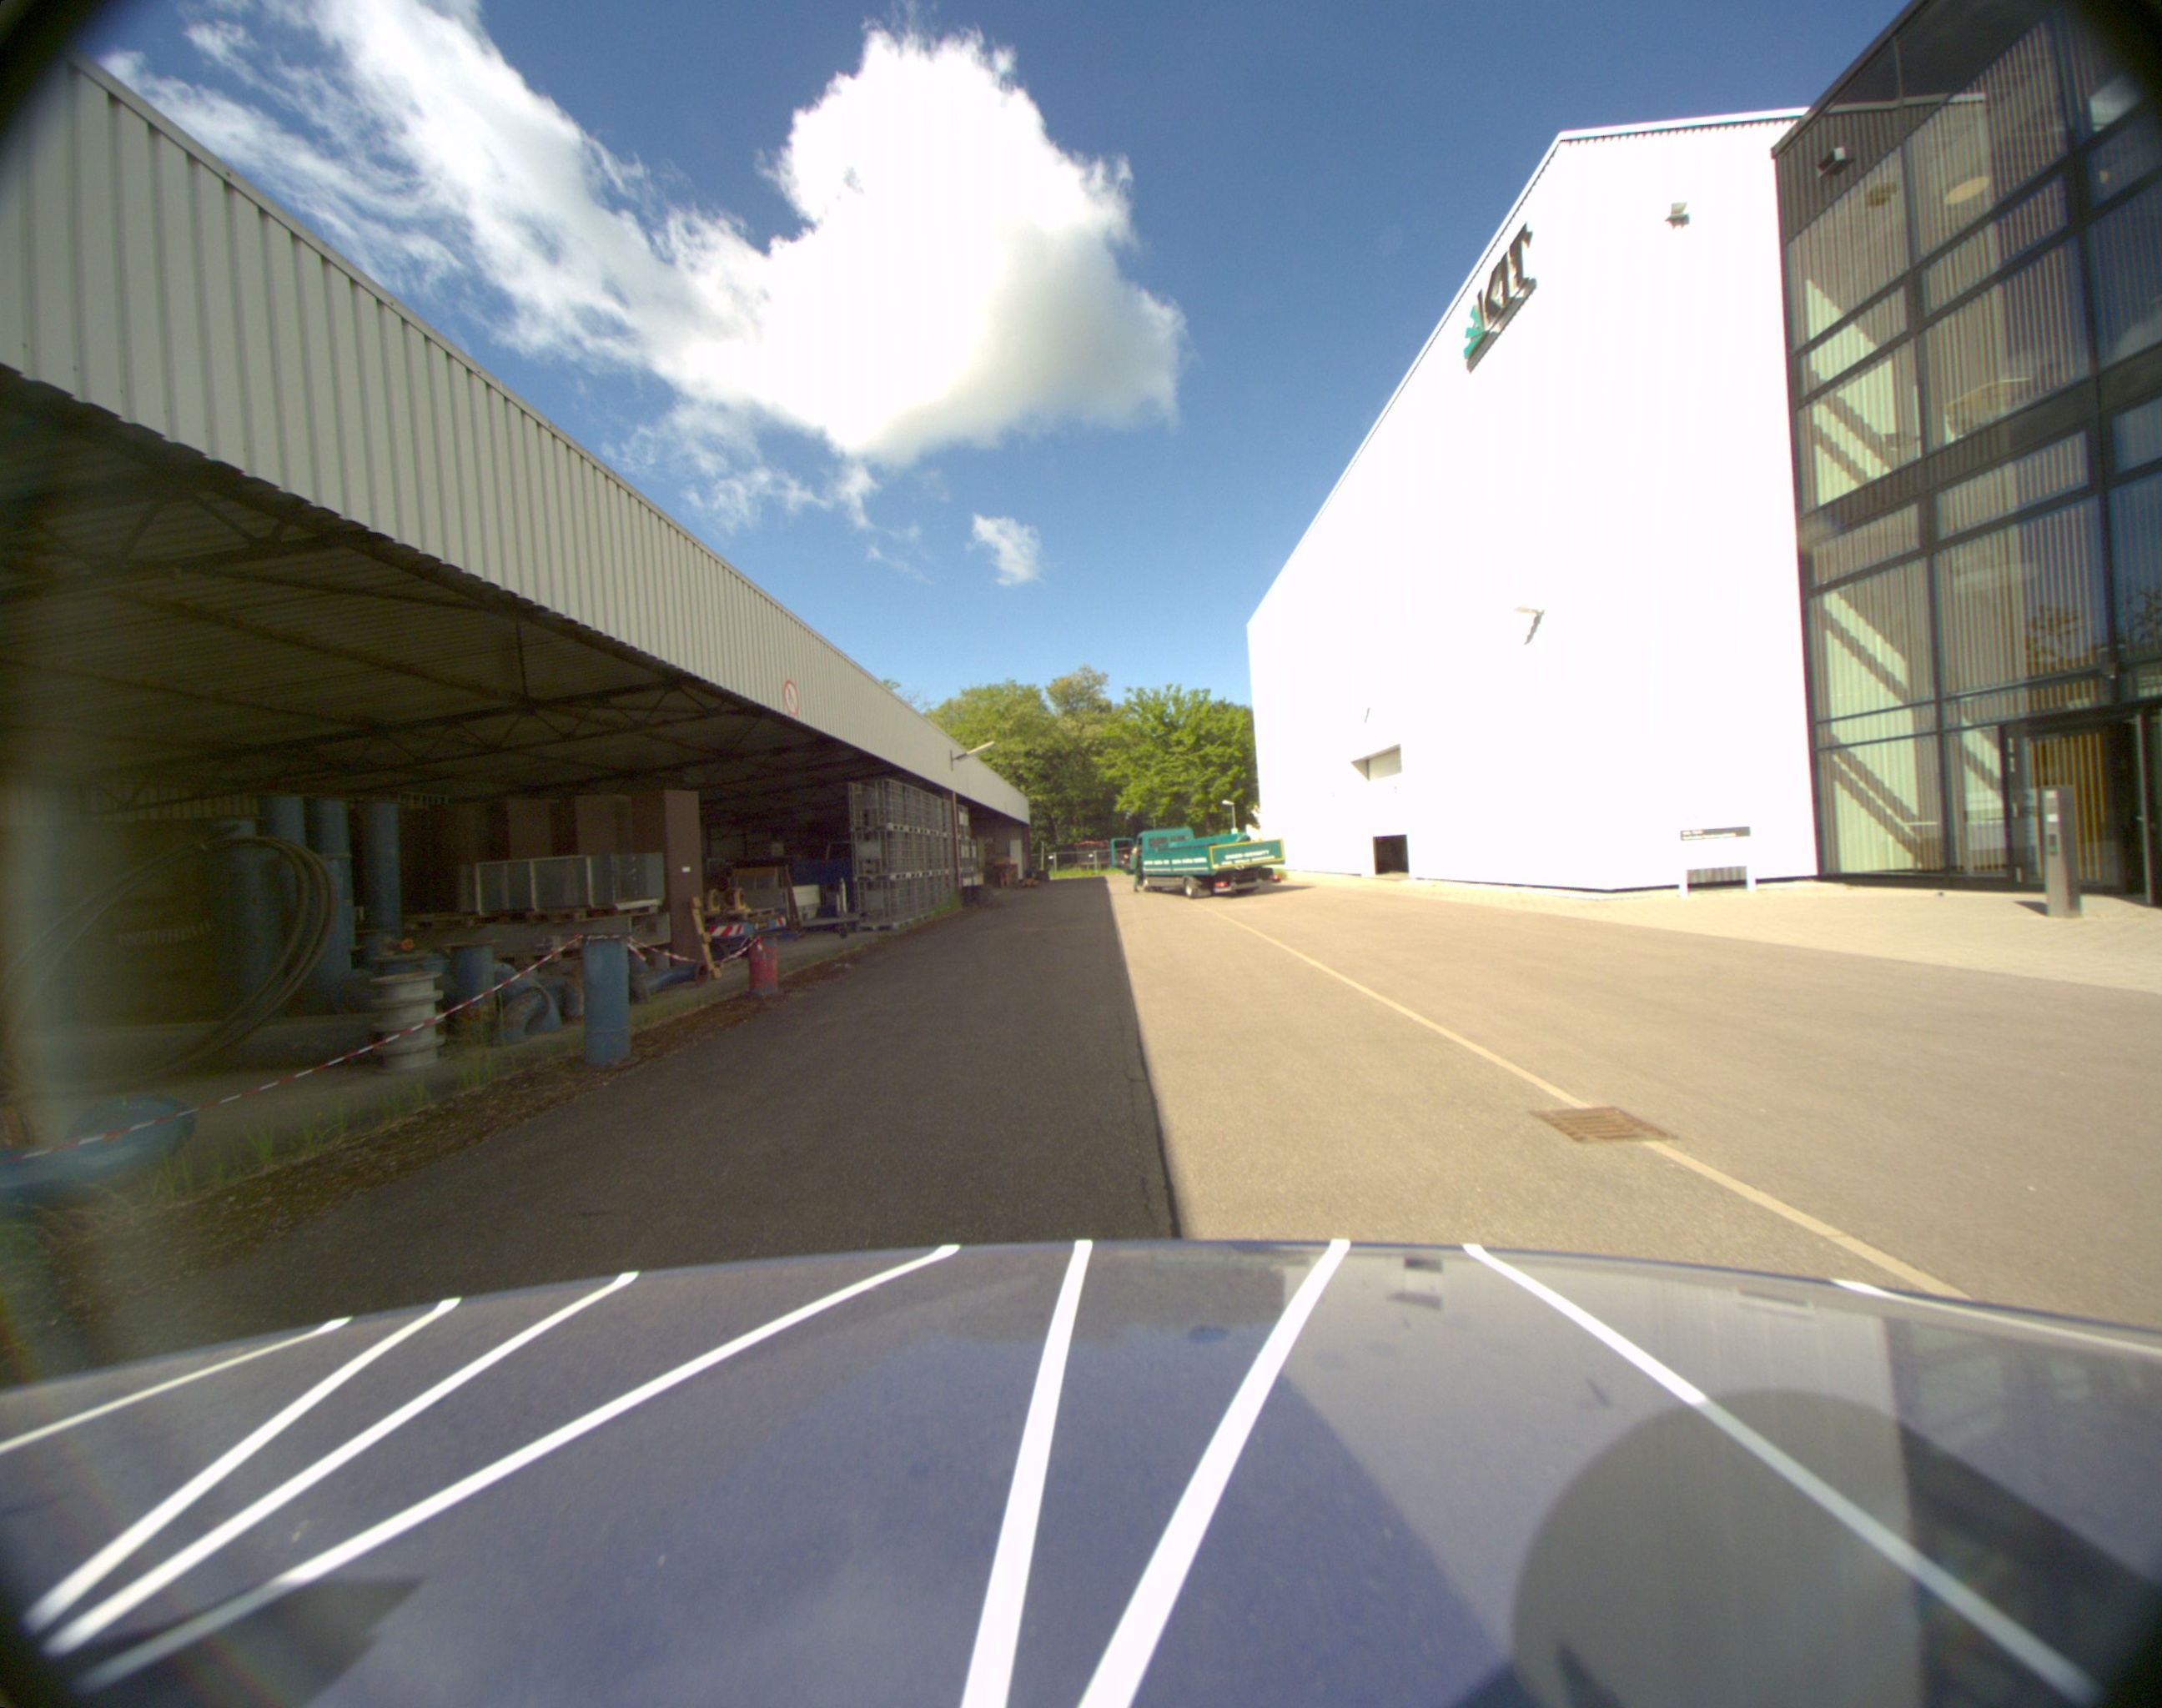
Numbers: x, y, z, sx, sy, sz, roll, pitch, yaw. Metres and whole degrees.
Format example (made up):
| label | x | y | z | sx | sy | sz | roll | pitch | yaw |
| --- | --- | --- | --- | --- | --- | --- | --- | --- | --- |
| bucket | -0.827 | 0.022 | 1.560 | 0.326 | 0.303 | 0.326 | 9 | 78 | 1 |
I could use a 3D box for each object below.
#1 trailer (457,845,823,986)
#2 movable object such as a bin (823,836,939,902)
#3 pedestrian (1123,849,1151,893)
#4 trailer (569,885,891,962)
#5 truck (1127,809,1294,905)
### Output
| label | x | y | z | sx | sy | sz | roll | pitch | yaw |
| --- | --- | --- | --- | --- | --- | --- | --- | --- | --- |
| trailer | -7.088 | 0.949 | 12.573 | 4.828 | 1.985 | 2.047 | -2 | 1 | 4 |
| movable object such as a bin | -8.948 | 0.682 | 34.289 | 4.626 | 2.706 | 2.000 | -2 | -1 | 0 |
| pedestrian | 2.340 | 0.702 | 31.700 | 0.892 | 1.792 | 1.041 | -1 | 1 | 20 |
| trailer | -7.131 | 1.399 | 15.913 | 5.748 | 1.126 | 2.009 | -3 | 0 | 0 |
| truck | 4.293 | 0.182 | 28.098 | 2.589 | 2.701 | 9.687 | -6 | 0 | -11 |
